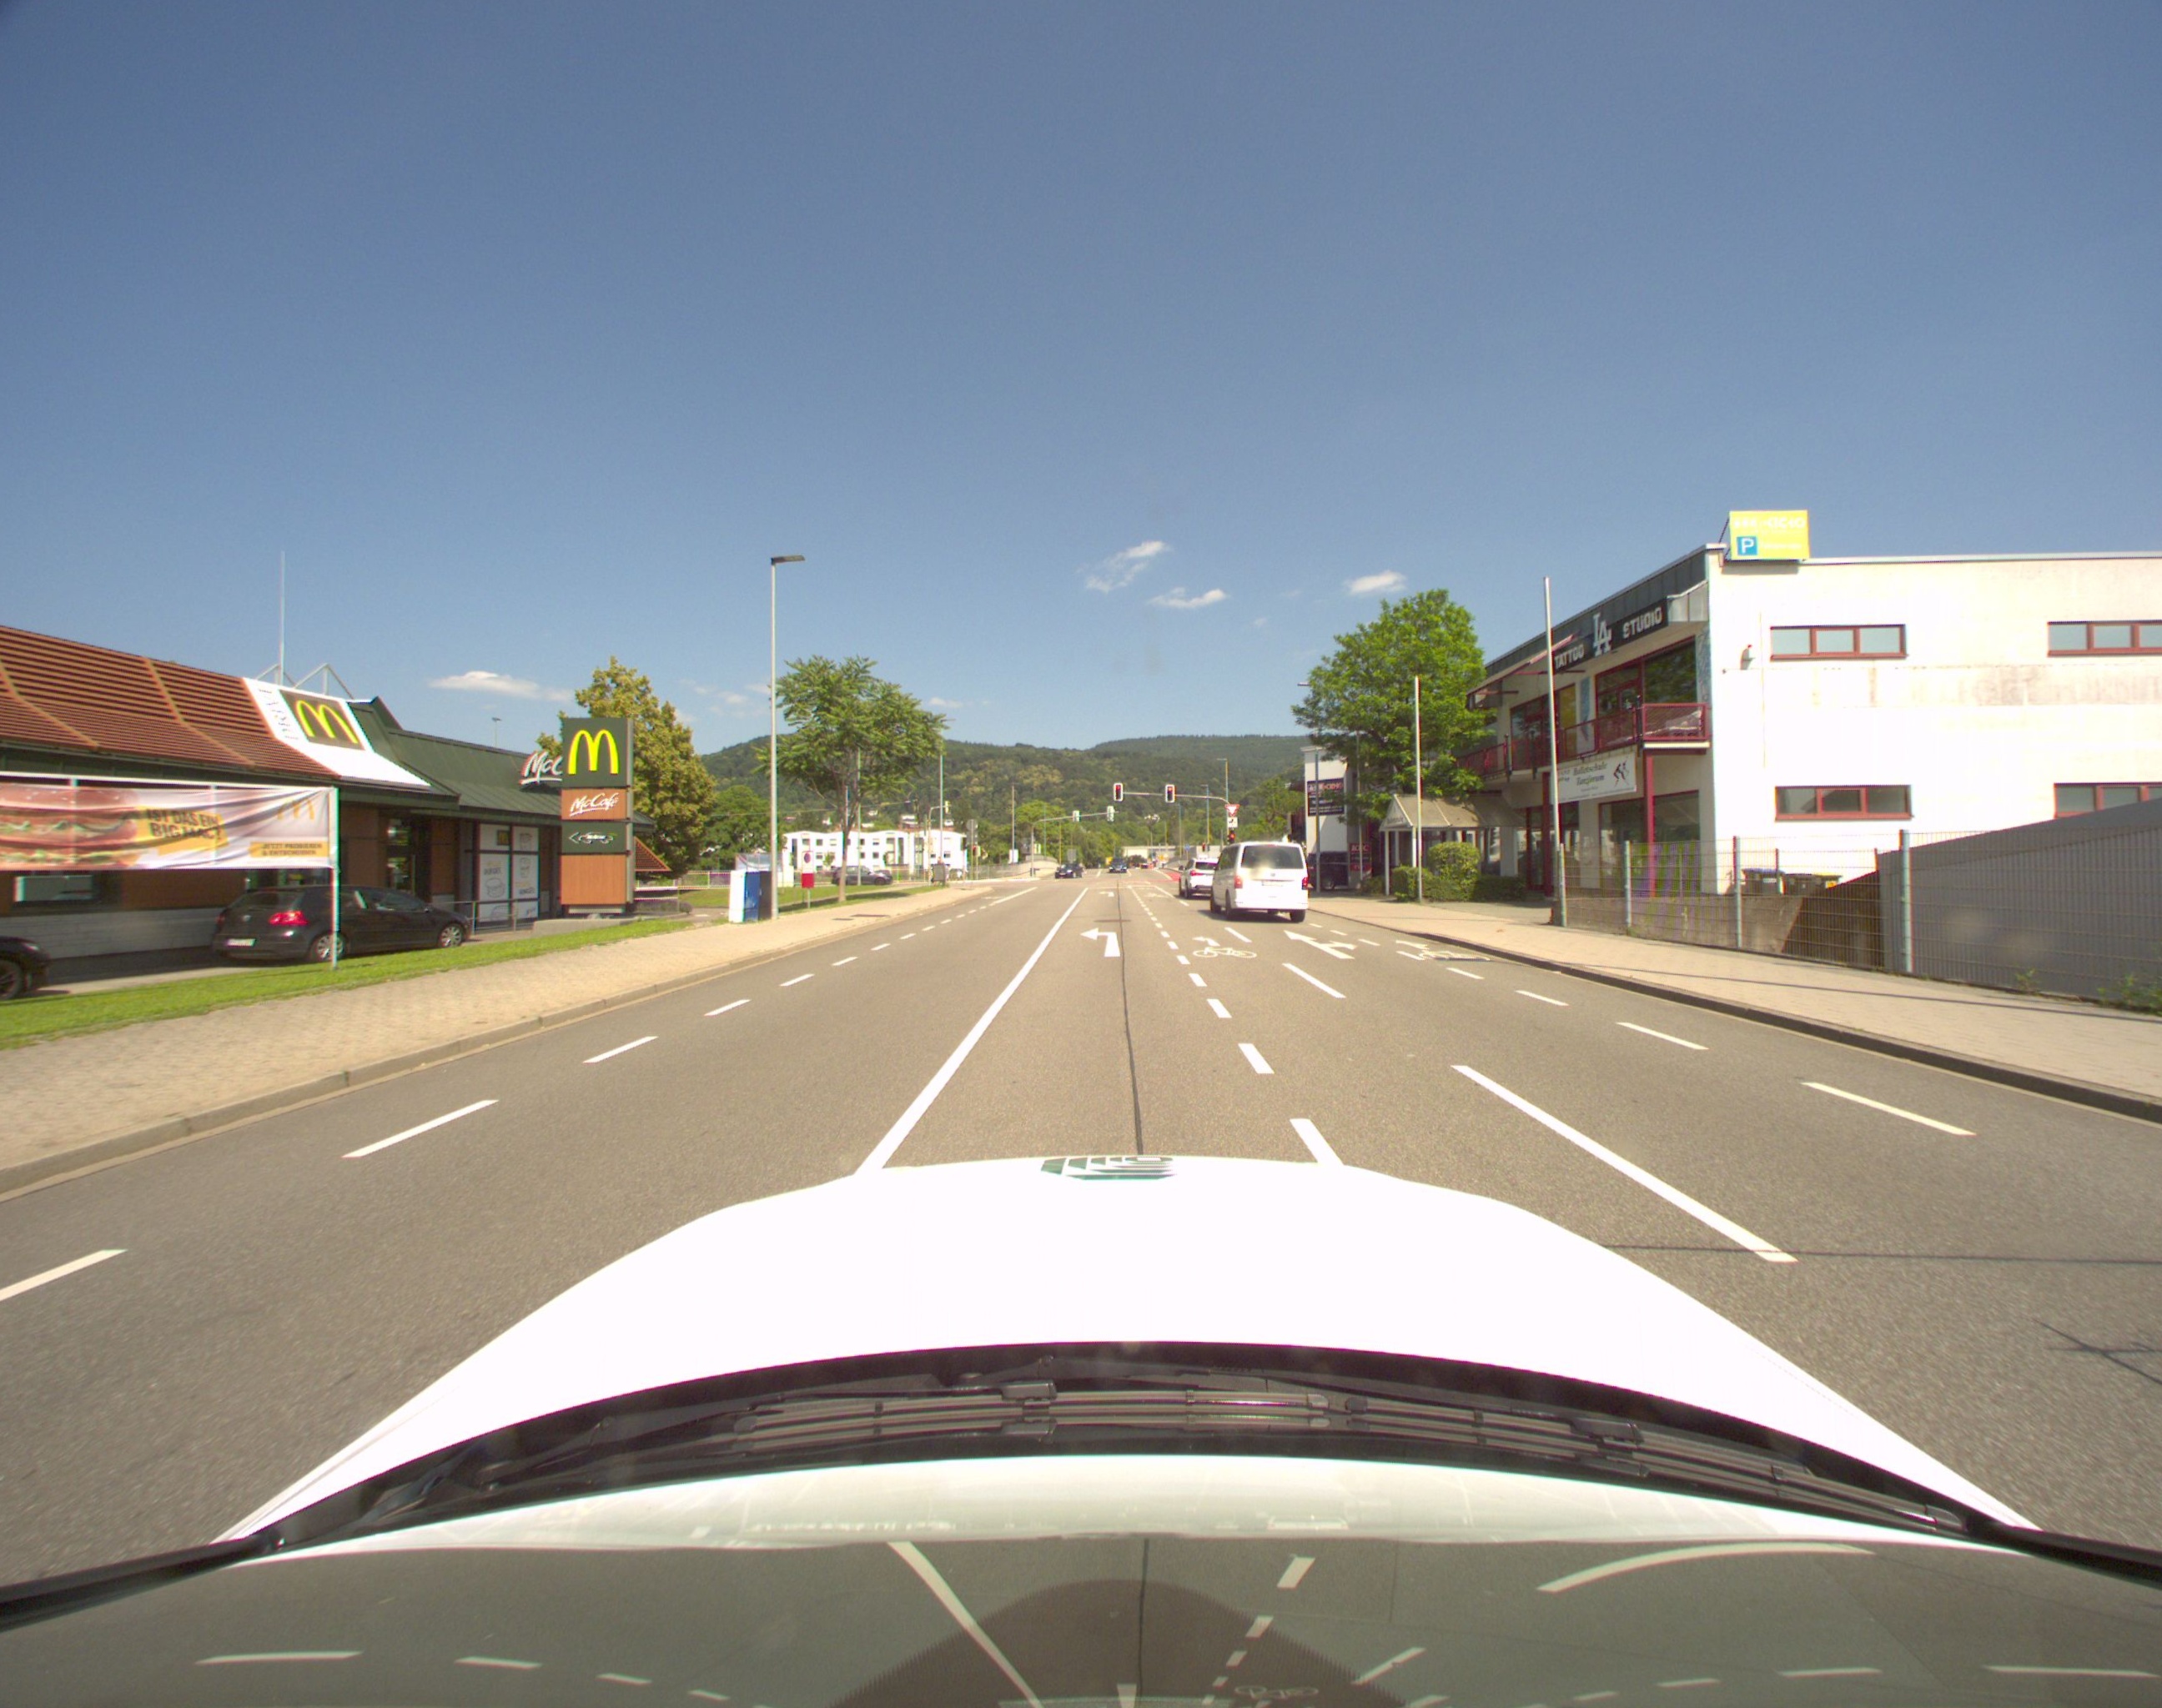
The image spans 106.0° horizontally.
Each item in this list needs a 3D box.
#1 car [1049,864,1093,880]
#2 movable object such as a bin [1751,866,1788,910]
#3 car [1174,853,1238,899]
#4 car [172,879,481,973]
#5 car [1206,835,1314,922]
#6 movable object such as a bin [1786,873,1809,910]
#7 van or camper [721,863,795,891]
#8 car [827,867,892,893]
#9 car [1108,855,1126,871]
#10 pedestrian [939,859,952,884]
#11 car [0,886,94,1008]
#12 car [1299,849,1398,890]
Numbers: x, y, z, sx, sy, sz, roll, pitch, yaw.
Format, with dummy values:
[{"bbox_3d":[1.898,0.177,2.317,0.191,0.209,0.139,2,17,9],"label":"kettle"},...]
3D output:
[{"bbox_3d":[-0.841,1.603,73.745,1.974,1.370,4.354,-1,0,31],"label":"car"},{"bbox_3d":[16.279,0.804,19.260,0.410,1.012,0.545,-1,-1,4],"label":"movable object such as a bin"},{"bbox_3d":[4.909,0.836,32.602,1.928,1.686,4.544,1,0,1],"label":"car"},{"bbox_3d":[-14.371,1.295,15.933,1.985,1.416,4.134,2,0,4],"label":"car"},{"bbox_3d":[4.600,0.578,21.571,1.928,2.059,4.545,1,0,1],"label":"car"},{"bbox_3d":[16.969,0.889,19.287,0.266,0.854,0.275,-1,-1,4],"label":"movable object such as a bin"},{"bbox_3d":[-19.917,1.417,50.395,3.995,1.574,1.989,2,0,-16],"label":"van or camper"},{"bbox_3d":[-15.420,1.791,56.769,4.325,1.592,1.989,-1,0,-17],"label":"car"},{"bbox_3d":[3.822,0.941,86.653,1.842,1.588,4.002,-1,0,2],"label":"car"},{"bbox_3d":[-8.646,1.135,51.895,0.696,1.573,0.676,-1,0,0],"label":"pedestrian"},{"bbox_3d":[-14.719,1.199,9.192,1.821,1.476,4.320,2,0,0],"label":"car"},{"bbox_3d":[12.115,0.686,37.075,3.964,1.775,2.005,-1,0,8],"label":"car"}]
